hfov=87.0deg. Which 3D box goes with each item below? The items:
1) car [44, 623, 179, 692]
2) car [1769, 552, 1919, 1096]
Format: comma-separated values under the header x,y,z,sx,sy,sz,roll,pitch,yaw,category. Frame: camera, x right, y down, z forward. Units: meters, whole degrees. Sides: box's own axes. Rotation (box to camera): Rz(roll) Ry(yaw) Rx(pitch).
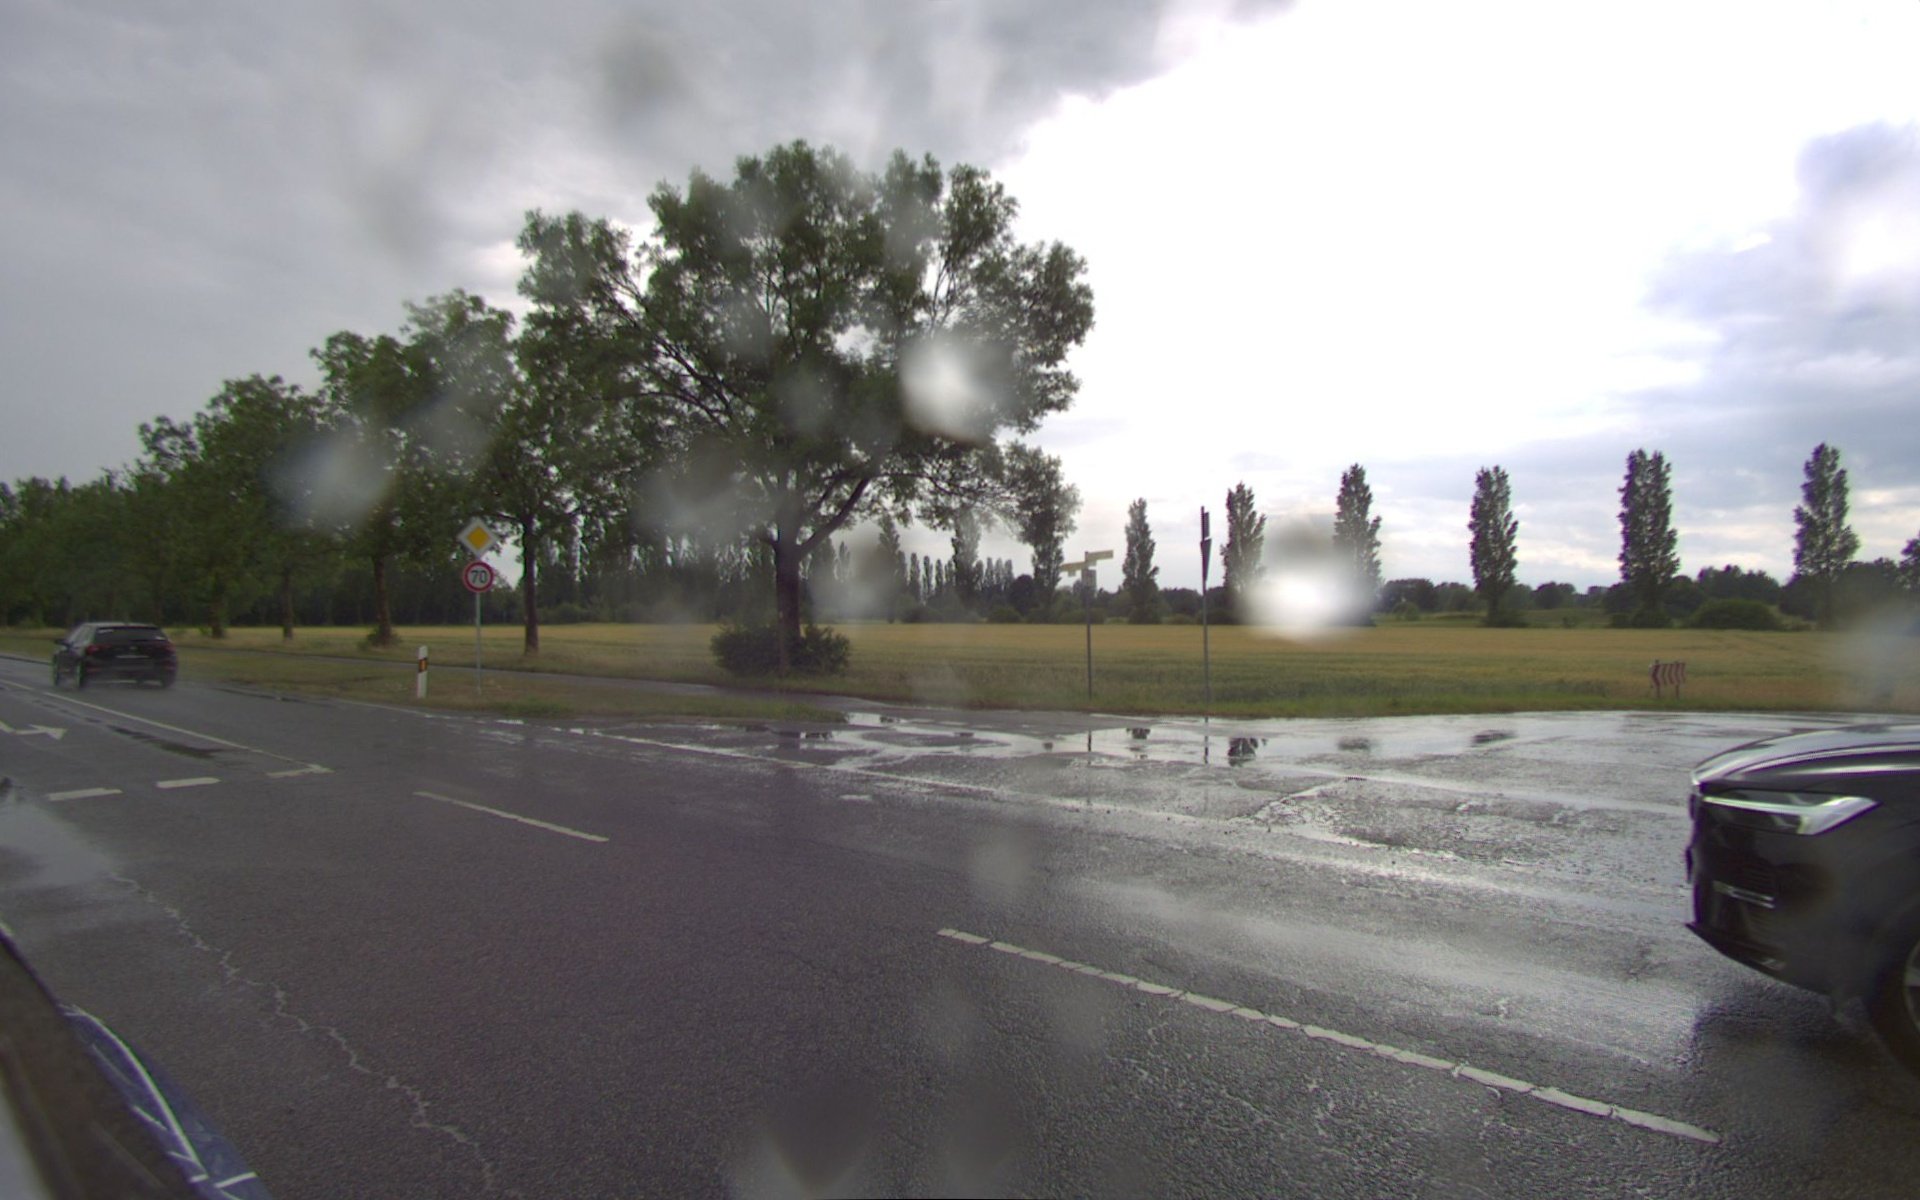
x,y,z,sx,sy,sz,roll,pitch,yaw,category
-18.975,1.240,22.584,3.811,1.416,1.694,-1,-3,41,car
4.875,0.653,2.492,4.440,1.592,1.924,-1,-3,40,car
